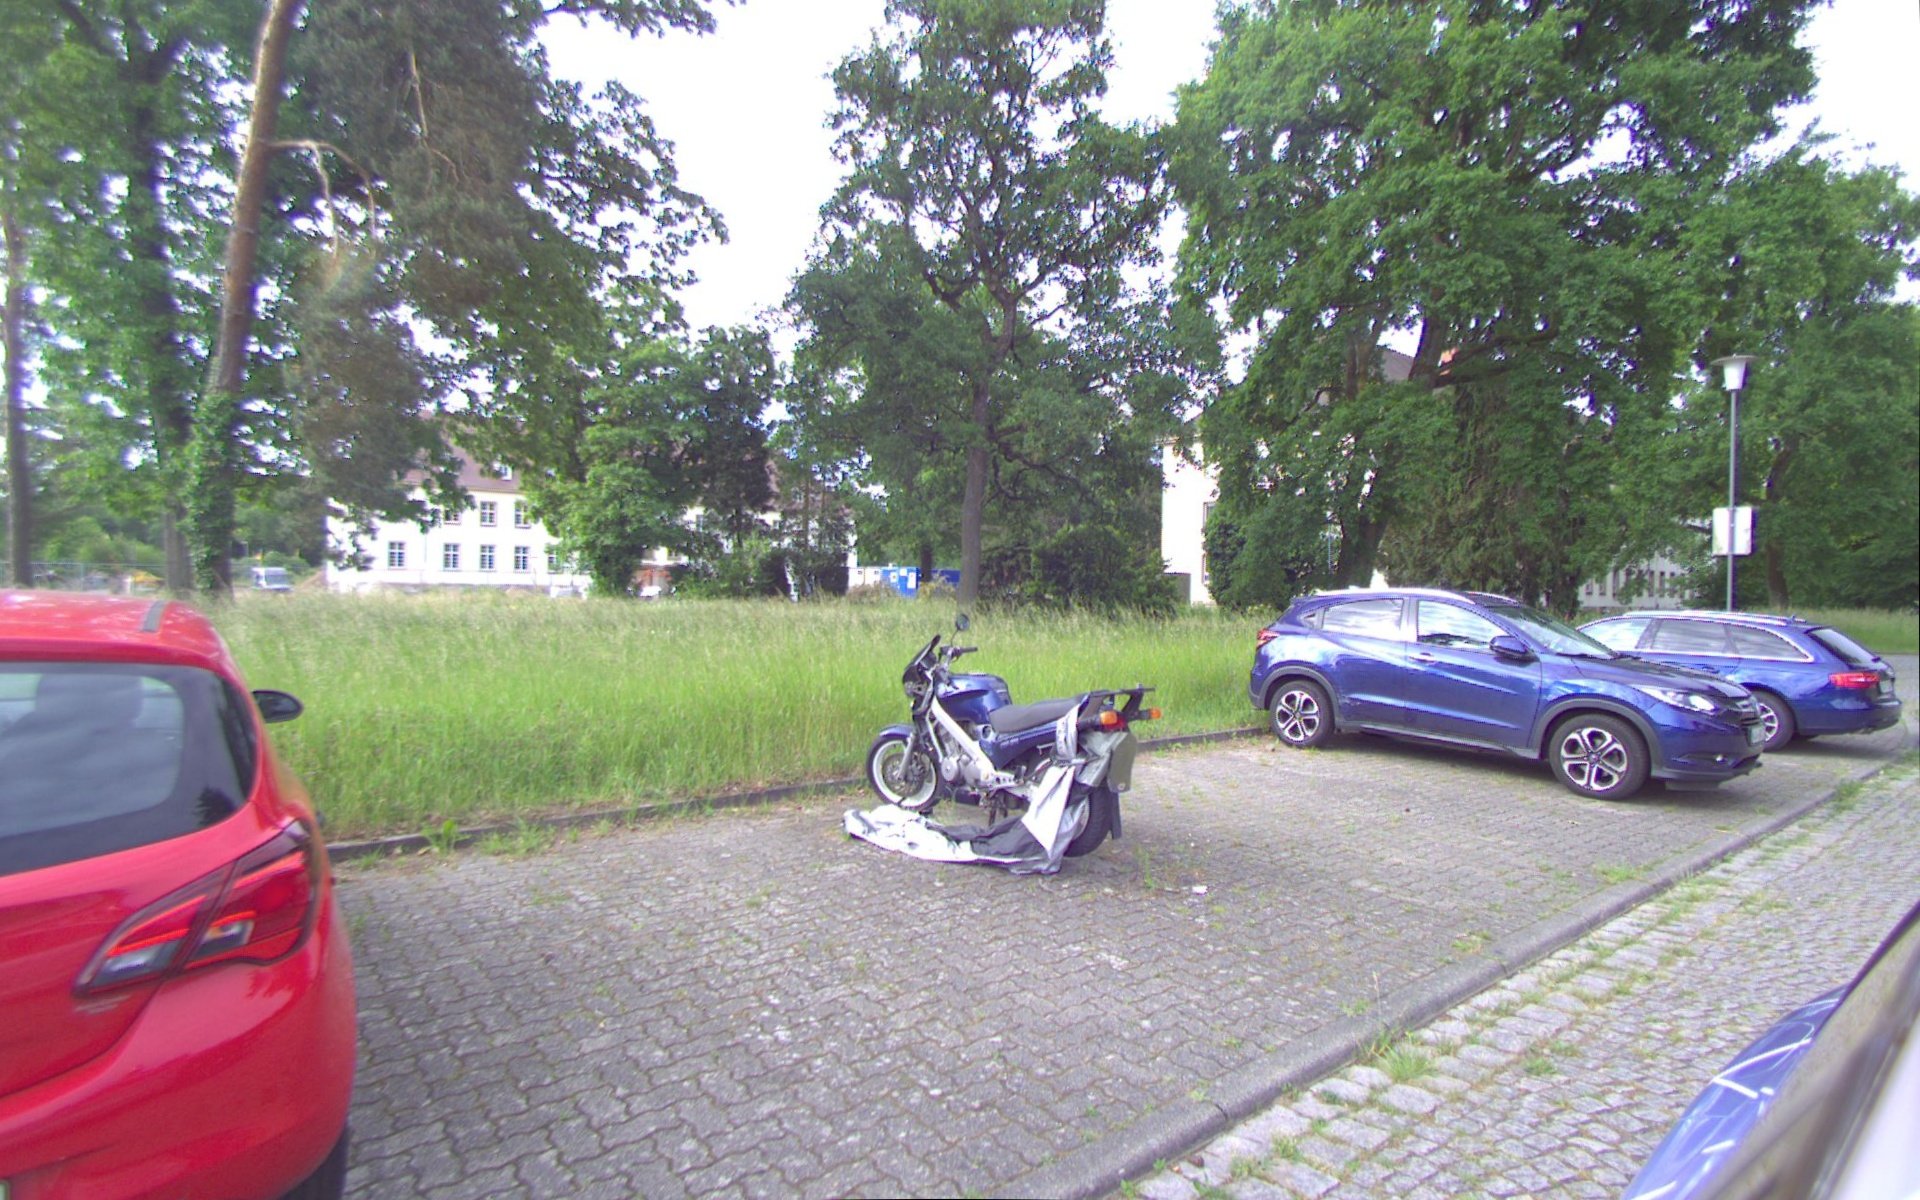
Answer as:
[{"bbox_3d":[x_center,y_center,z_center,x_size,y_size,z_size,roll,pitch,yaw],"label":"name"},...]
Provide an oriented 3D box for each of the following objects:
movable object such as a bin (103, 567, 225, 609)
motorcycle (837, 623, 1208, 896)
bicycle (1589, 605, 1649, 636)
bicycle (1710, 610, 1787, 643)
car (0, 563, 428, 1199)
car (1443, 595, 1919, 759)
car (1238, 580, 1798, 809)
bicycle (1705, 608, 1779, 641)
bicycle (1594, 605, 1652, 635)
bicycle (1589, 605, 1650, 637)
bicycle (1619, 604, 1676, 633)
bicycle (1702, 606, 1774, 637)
[{"bbox_3d":[-51.523,-0.756,65.632,5.853,2.688,2.179,0,0,-11],"label":"movable object such as a bin"},{"bbox_3d":[0.257,0.799,6.042,0.781,1.200,2.331,0,2,-41],"label":"motorcycle"},{"bbox_3d":[24.711,0.761,37.984,1.840,1.137,0.616,0,0,28],"label":"bicycle"},{"bbox_3d":[26.665,0.891,34.258,1.952,1.090,0.583,0,0,24],"label":"bicycle"},{"bbox_3d":[-2.978,0.656,2.997,1.747,1.478,3.835,0,2,-39],"label":"car"},{"bbox_3d":[8.462,0.744,12.167,1.751,1.439,4.484,1,2,-36],"label":"car"},{"bbox_3d":[4.838,0.627,9.312,1.761,1.591,4.172,-1,2,-39],"label":"car"},{"bbox_3d":[27.529,0.851,35.660,1.952,1.090,0.583,0,0,24],"label":"bicycle"},{"bbox_3d":[25.732,0.757,39.313,1.840,1.137,0.616,0,0,28],"label":"bicycle"},{"bbox_3d":[24.379,0.763,37.441,1.840,1.137,0.616,0,0,28],"label":"bicycle"},{"bbox_3d":[27.528,0.741,40.558,1.840,1.137,0.616,0,0,28],"label":"bicycle"},{"bbox_3d":[28.749,0.795,37.441,2.011,1.090,0.616,0,0,28],"label":"bicycle"}]
